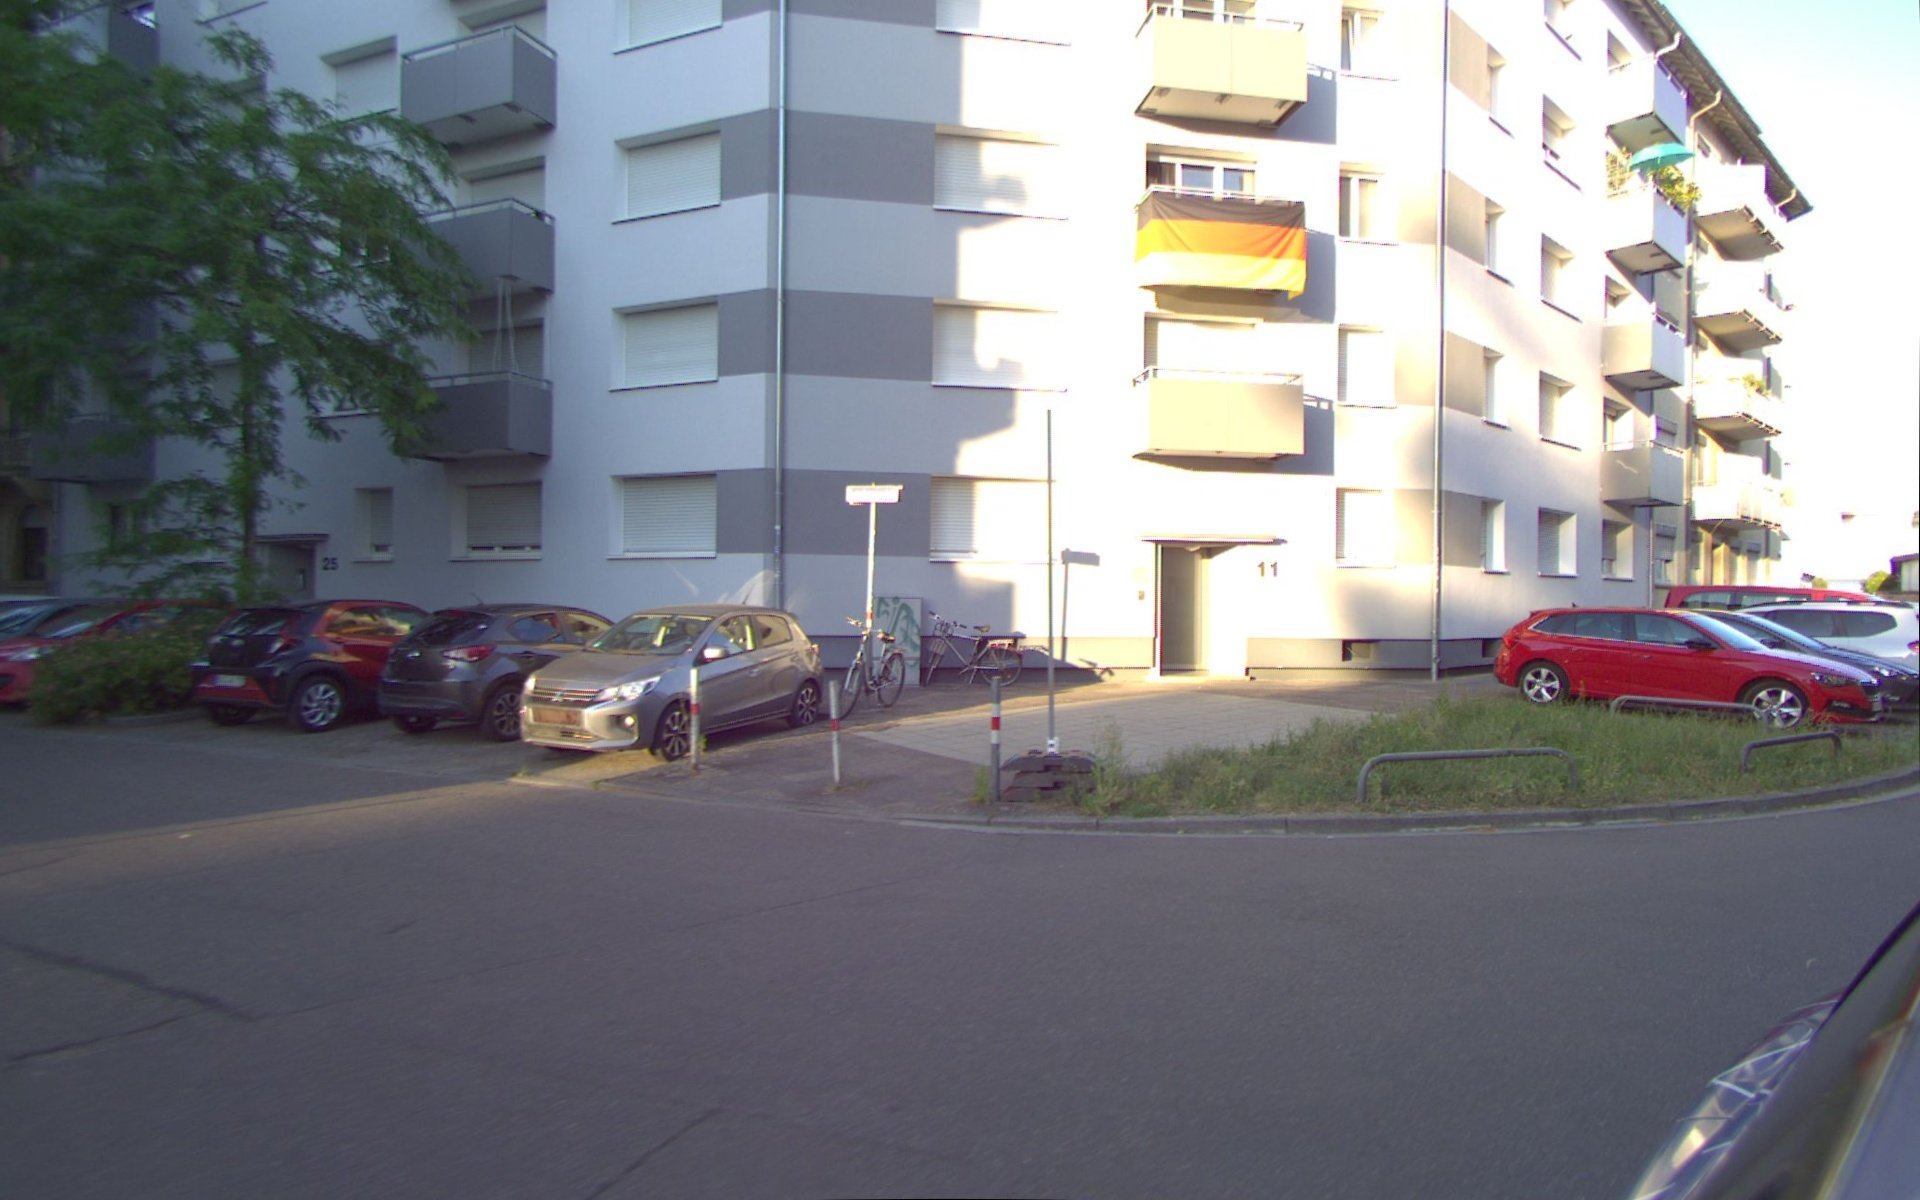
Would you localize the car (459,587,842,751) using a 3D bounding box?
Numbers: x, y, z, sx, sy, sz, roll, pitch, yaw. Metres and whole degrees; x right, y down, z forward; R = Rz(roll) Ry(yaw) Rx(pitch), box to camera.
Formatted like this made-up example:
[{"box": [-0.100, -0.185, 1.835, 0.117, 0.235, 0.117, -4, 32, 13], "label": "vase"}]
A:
[{"box": [-3.161, 0.613, 11.210, 1.978, 1.438, 3.968, 1, 0, 23], "label": "car"}]

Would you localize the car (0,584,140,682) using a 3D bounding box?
[{"box": [-16.742, 0.534, 17.159, 1.977, 1.605, 3.971, 1, 0, 22], "label": "car"}]

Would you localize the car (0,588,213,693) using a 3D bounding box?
[{"box": [-14.695, 0.584, 16.206, 1.977, 1.549, 3.971, 1, 0, 22], "label": "car"}]

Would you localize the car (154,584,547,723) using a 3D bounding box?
[{"box": [-7.630, 0.570, 13.111, 1.978, 1.482, 3.967, 1, 0, 24], "label": "car"}]

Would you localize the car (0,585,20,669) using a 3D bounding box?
[{"box": [-19.400, 0.489, 17.642, 1.978, 1.549, 3.968, 1, 0, 23], "label": "car"}]

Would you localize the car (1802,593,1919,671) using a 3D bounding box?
[{"box": [22.020, 0.720, 23.087, 1.963, 1.705, 3.998, 1, 0, -36], "label": "car"}]

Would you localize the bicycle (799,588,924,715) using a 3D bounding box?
[{"box": [-1.142, 0.576, 12.483, 0.510, 1.401, 2.487, 0, 0, 20], "label": "bicycle"}]

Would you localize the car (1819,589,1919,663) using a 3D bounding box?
[{"box": [26.722, 0.703, 27.824, 1.963, 1.993, 4.429, 1, 0, -37], "label": "car"}]

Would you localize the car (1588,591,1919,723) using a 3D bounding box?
[{"box": [11.925, 0.731, 15.088, 1.965, 1.683, 3.993, 1, 0, -42], "label": "car"}]

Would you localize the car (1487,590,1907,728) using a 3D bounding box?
[{"box": [9.825, 0.660, 13.805, 1.888, 1.560, 4.311, 1, 0, -38], "label": "car"}]

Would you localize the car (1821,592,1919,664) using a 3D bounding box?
[{"box": [25.131, 0.729, 26.255, 1.964, 1.816, 3.996, 1, 0, -39], "label": "car"}]

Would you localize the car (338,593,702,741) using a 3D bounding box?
[{"box": [-5.204, 0.681, 12.563, 1.827, 1.505, 3.967, 1, 0, 24], "label": "car"}]

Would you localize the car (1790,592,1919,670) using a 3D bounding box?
[{"box": [23.395, 0.752, 25.136, 1.964, 1.861, 3.996, 1, 0, -39], "label": "car"}]

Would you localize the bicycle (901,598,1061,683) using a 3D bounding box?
[{"box": [0.315, 0.619, 15.811, 2.403, 1.289, 0.699, 0, -1, -10], "label": "bicycle"}]

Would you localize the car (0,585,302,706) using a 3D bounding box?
[{"box": [-12.373, 0.560, 15.020, 1.977, 1.535, 3.970, 1, 0, 22], "label": "car"}]

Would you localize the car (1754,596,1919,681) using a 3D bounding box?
[{"box": [19.831, 0.792, 21.777, 1.963, 1.705, 3.997, 1, 0, -38], "label": "car"}]

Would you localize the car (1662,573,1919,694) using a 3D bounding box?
[{"box": [15.911, 0.549, 18.516, 1.964, 2.025, 4.684, 1, 0, -39], "label": "car"}]

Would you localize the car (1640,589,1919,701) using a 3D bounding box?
[{"box": [13.752, 0.654, 16.641, 1.754, 1.649, 3.992, 1, 0, -42], "label": "car"}]
